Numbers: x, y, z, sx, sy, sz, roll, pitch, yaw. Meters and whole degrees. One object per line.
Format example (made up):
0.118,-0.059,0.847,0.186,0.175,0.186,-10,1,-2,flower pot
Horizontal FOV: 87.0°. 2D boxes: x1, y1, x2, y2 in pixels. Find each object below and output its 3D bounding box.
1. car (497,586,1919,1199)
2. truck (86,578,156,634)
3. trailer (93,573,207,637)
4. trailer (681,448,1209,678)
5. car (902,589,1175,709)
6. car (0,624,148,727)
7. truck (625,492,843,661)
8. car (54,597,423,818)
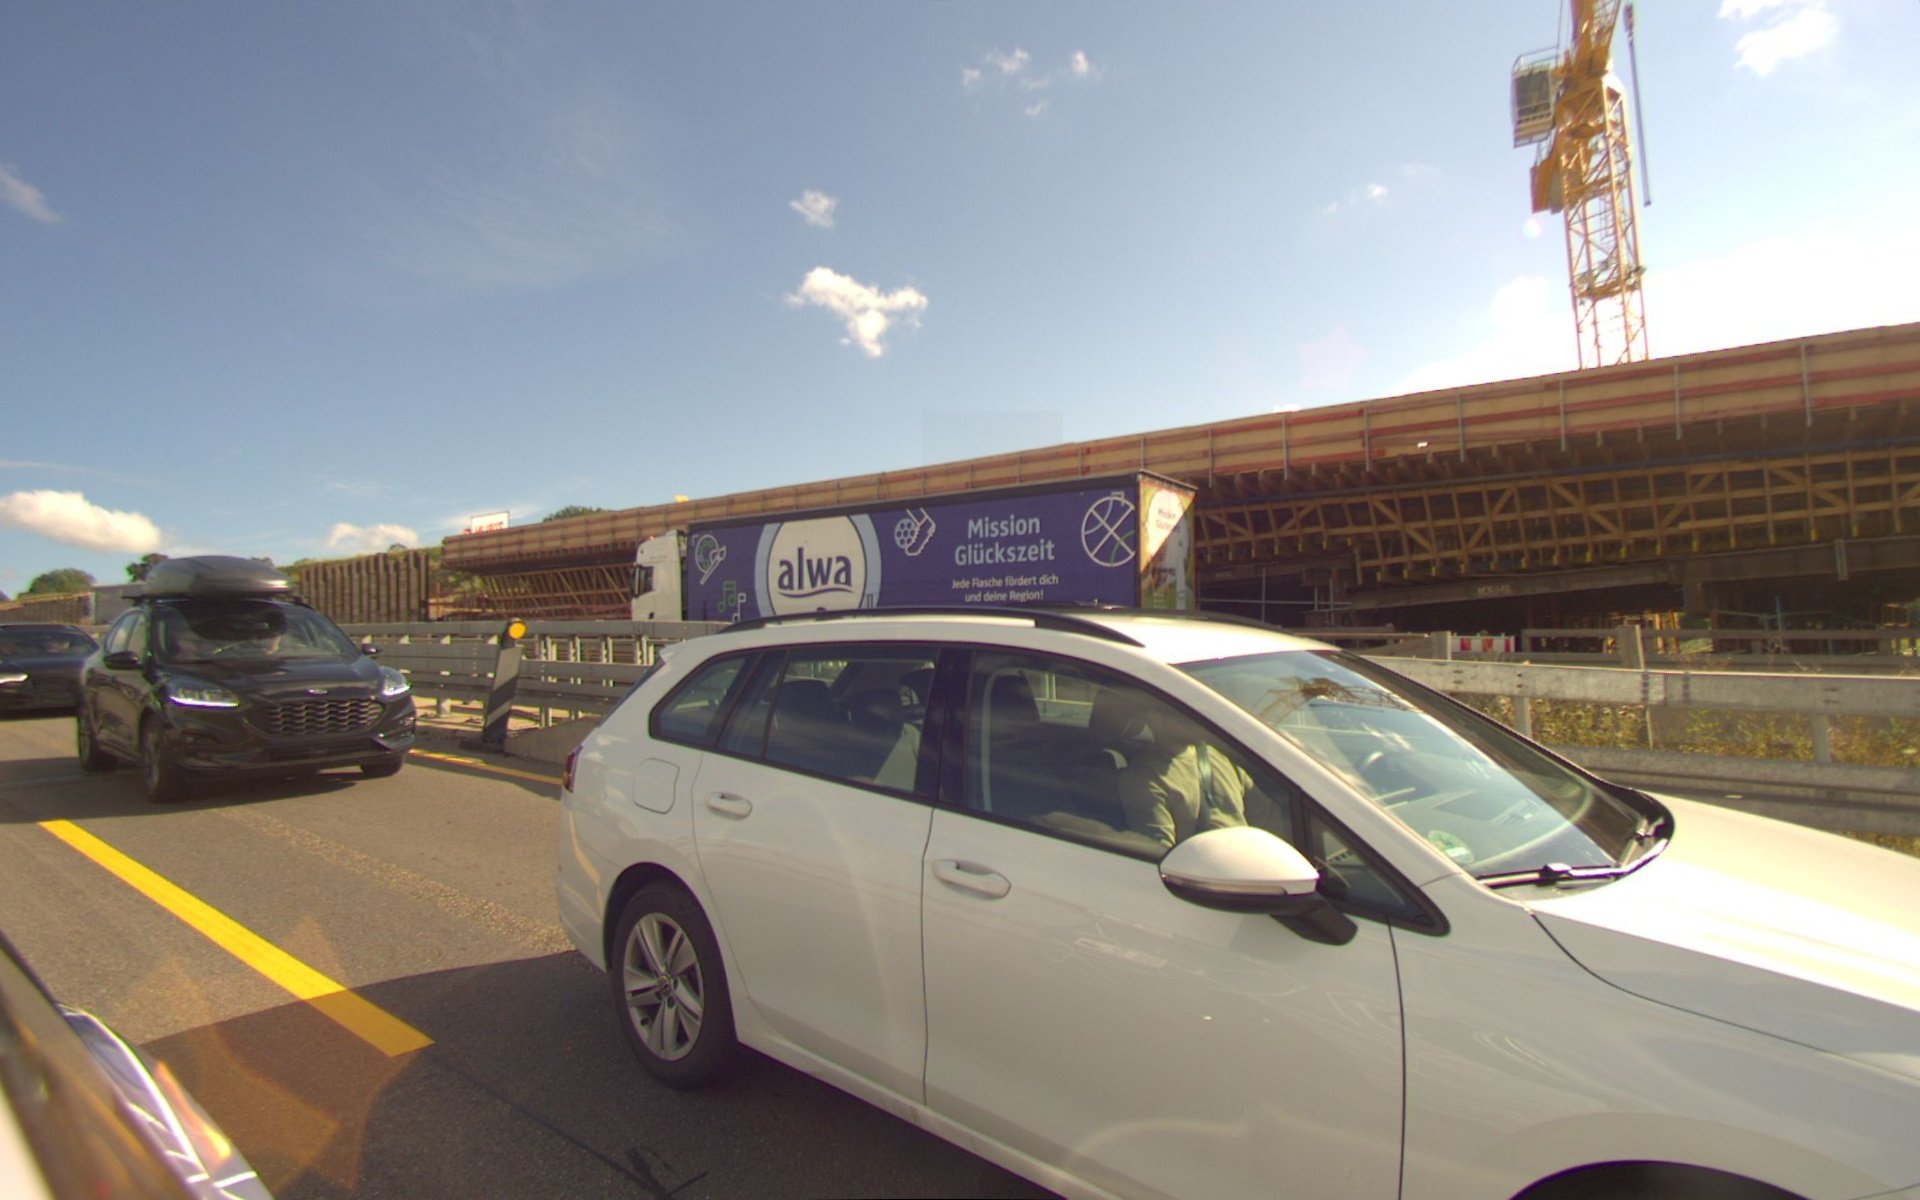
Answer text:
0.670,0.761,2.773,4.513,1.502,1.752,0,-2,40,car
-57.041,0.417,68.765,4.805,3.656,2.814,-1,0,39,truck
-51.701,0.339,64.384,13.514,3.694,2.835,-1,0,39,trailer
-1.189,-0.614,23.732,13.792,4.187,2.662,-1,0,38,trailer
1.232,0.739,17.126,4.324,1.780,1.904,-1,0,41,car
-15.237,1.141,16.705,4.500,1.441,1.925,0,-1,39,car
-6.284,-0.553,27.759,5.962,4.169,2.686,-1,0,38,truck
-6.740,0.802,9.260,4.382,1.554,1.781,-1,-2,41,car
